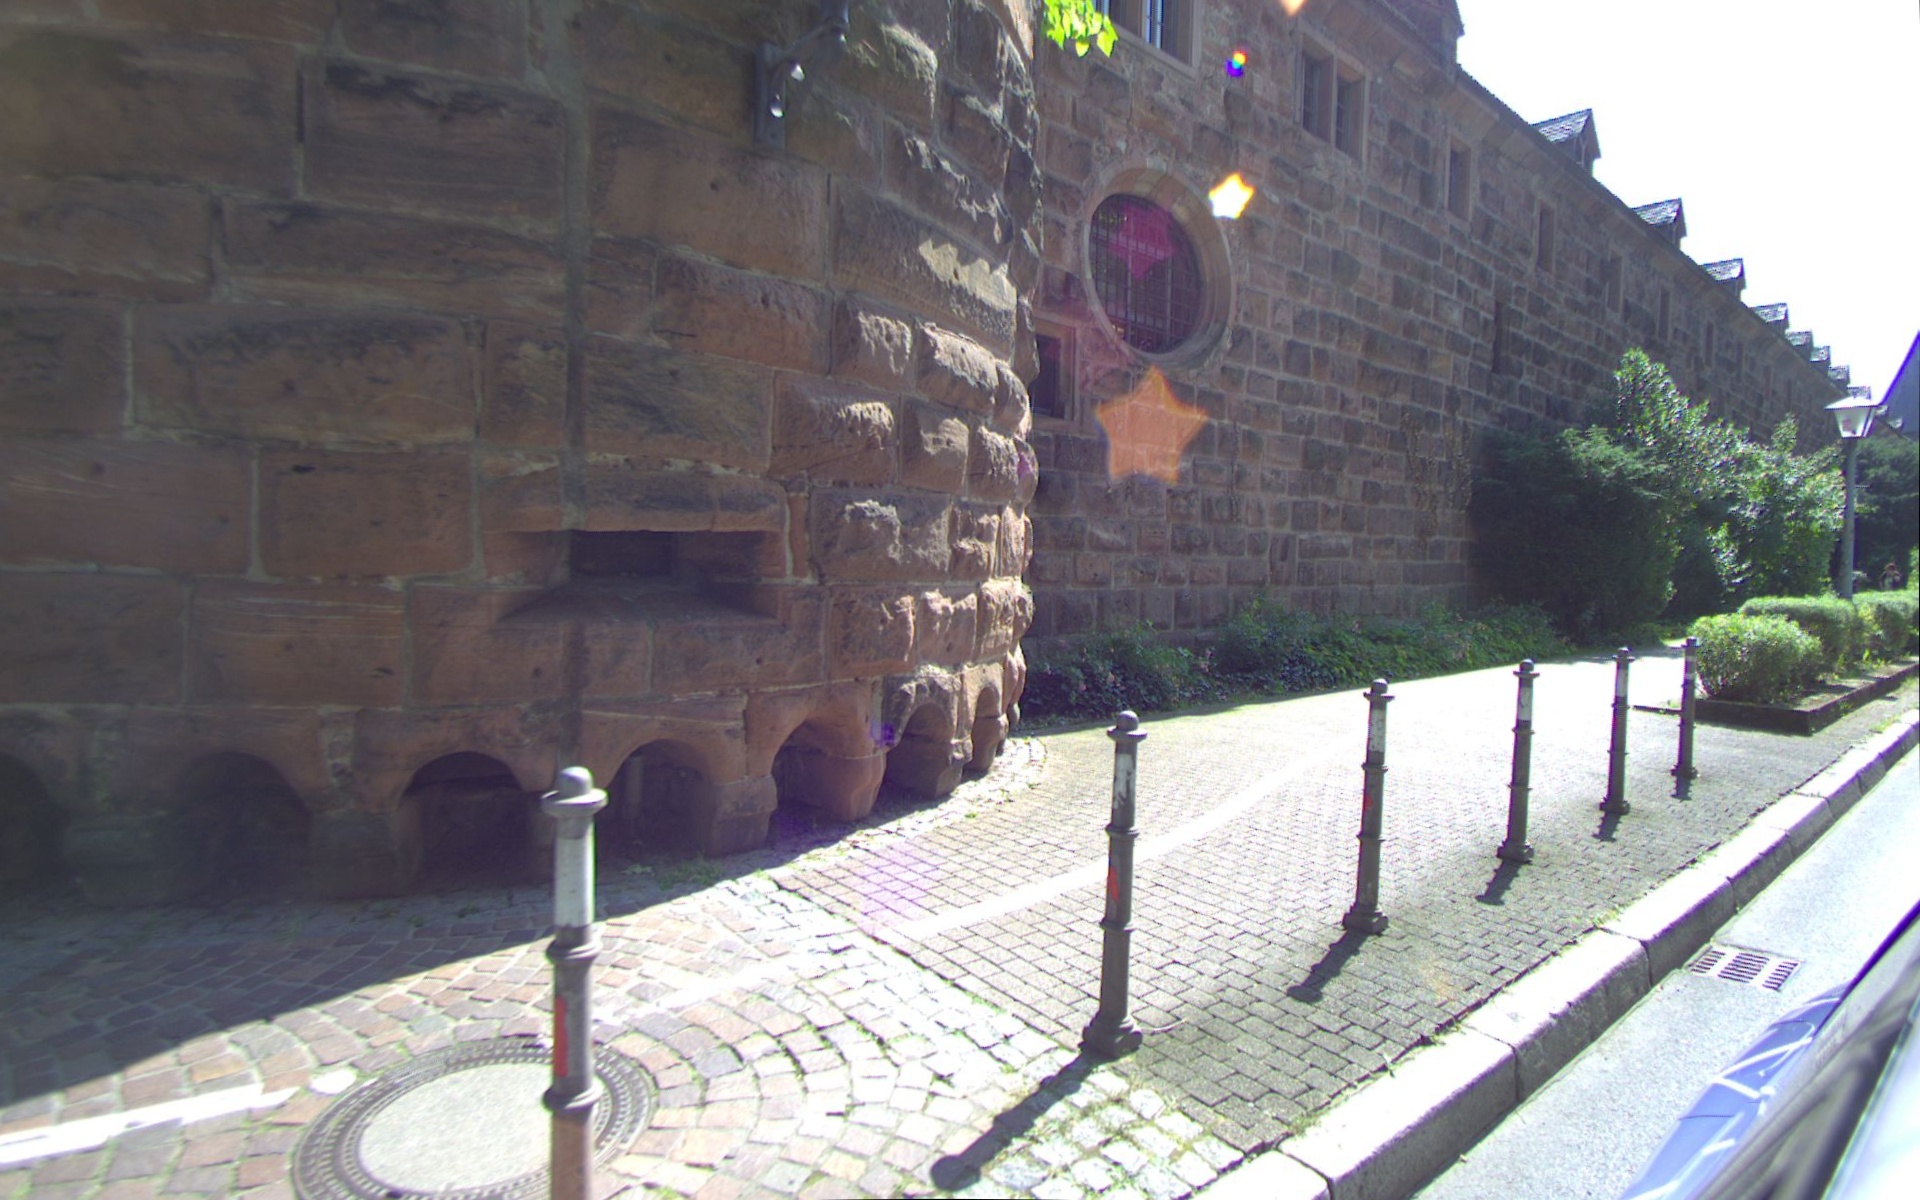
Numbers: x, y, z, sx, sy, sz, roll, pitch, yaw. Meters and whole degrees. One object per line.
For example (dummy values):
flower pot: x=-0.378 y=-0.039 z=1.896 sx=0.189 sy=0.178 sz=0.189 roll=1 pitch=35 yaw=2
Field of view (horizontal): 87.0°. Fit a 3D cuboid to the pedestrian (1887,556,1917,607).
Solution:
pedestrian: x=30.034 y=-0.589 z=32.282 sx=0.554 sy=1.583 sz=0.642 roll=-2 pitch=1 yaw=-40
